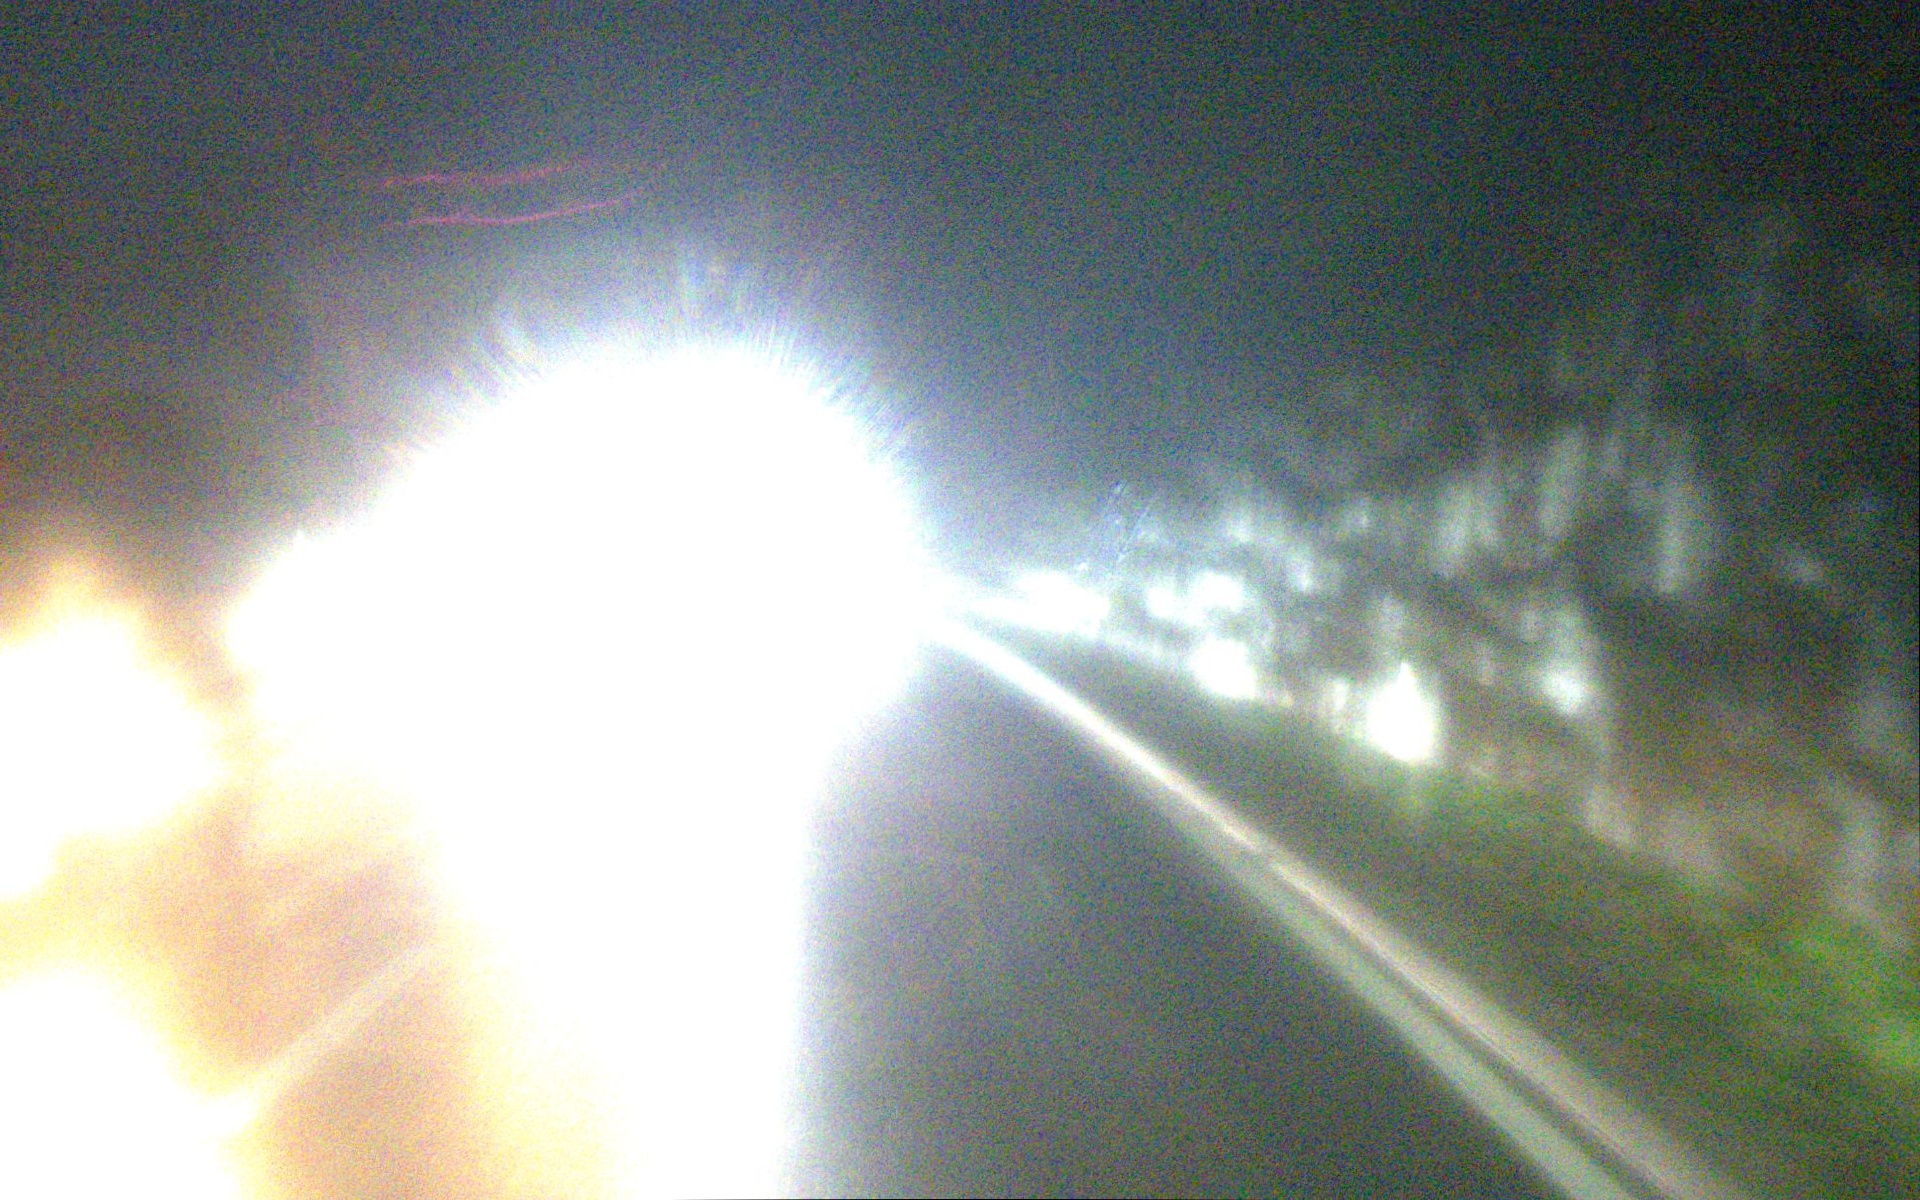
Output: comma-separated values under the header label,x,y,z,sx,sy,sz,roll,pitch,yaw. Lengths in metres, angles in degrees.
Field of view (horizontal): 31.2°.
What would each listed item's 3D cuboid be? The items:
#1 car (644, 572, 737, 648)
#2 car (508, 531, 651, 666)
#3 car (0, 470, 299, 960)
label,x,y,z,sx,sy,sz,roll,pitch,yaw
car,-5.927,0.193,75.930,1.885,1.570,4.050,1,1,-2
car,-5.337,-0.059,48.614,1.742,1.817,3.878,1,1,-2
car,-3.953,0.371,14.232,1.742,1.754,3.878,1,1,-1
